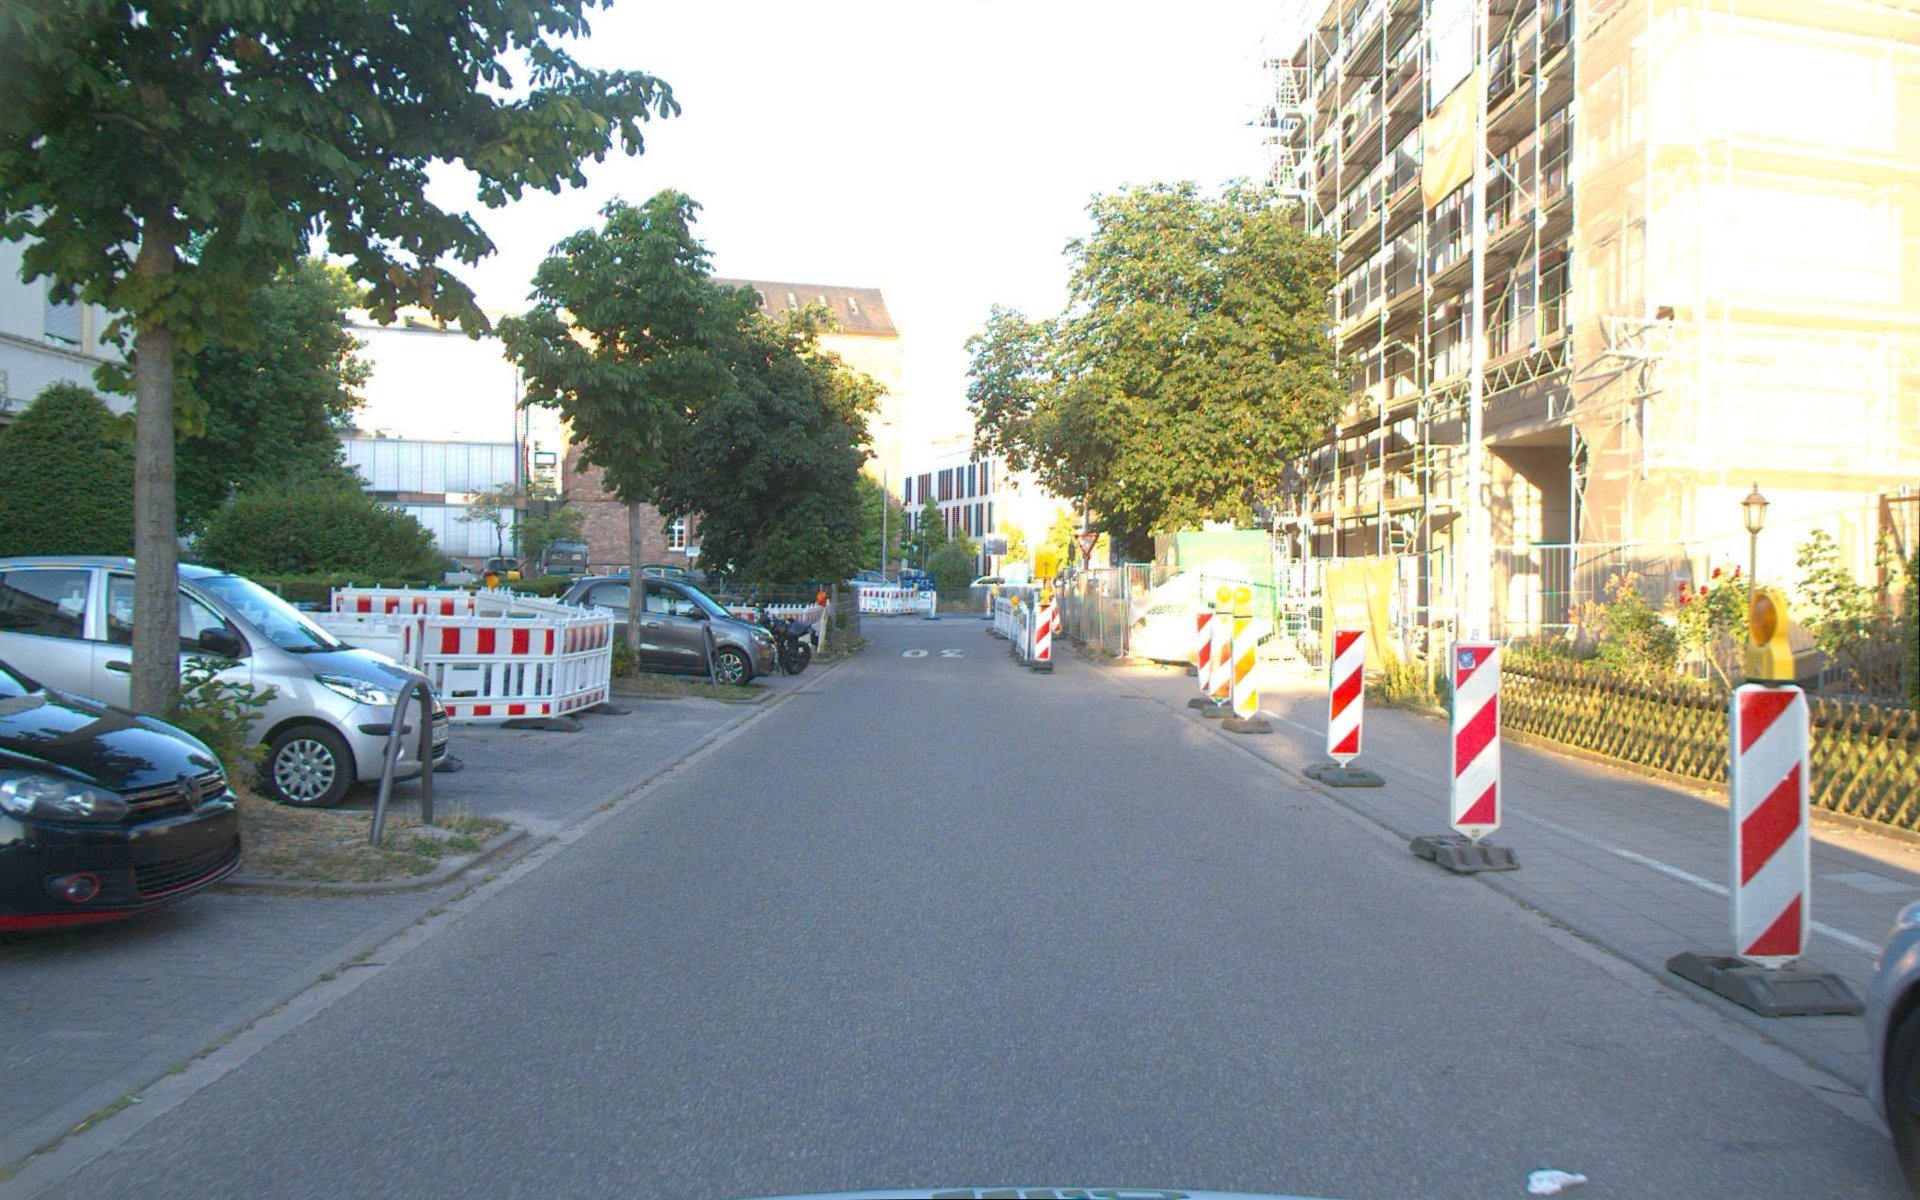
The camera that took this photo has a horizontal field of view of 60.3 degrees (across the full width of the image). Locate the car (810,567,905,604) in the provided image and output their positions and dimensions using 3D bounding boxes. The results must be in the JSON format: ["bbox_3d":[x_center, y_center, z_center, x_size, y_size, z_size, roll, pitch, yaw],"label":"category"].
[{"bbox_3d":[-4.829,-0.687,77.690,4.205,1.738,1.693,0,1,-19],"label":"car"}]

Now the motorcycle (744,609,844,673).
[{"bbox_3d":[-2.864,0.698,28.730,0.527,1.038,2.208,3,0,28],"label":"motorcycle"}]

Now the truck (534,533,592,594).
[{"bbox_3d":[-18.110,-1.644,75.330,2.297,2.662,4.950,0,1,-17],"label":"truck"}]

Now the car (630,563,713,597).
[{"bbox_3d":[-13.118,-0.906,75.228,3.573,1.530,1.630,0,1,-17],"label":"car"}]

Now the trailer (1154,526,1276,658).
[{"bbox_3d":[5.275,-0.191,34.753,1.952,2.584,4.186,0,1,1],"label":"trailer"}]

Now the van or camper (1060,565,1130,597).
[{"bbox_3d":[9.860,-1.385,120.551,4.892,2.279,1.676,0,0,-22],"label":"van or camper"}]

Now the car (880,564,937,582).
[{"bbox_3d":[-3.887,-2.011,123.965,3.926,1.336,1.868,0,2,-19],"label":"car"}]

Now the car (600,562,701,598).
[{"bbox_3d":[-14.480,-0.932,77.340,4.510,1.666,1.568,0,1,-17],"label":"car"}]

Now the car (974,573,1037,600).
[{"bbox_3d":[2.908,-0.852,105.108,3.687,1.631,1.676,0,0,-22],"label":"car"}]

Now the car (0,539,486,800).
[{"bbox_3d":[-5.207,0.445,11.341,3.405,1.593,1.727,2,-1,-3],"label":"car"}]

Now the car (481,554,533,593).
[{"bbox_3d":[-20.475,-1.192,74.631,1.964,1.722,3.977,0,1,-20],"label":"car"}]

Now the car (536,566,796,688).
[{"bbox_3d":[-4.390,0.386,25.083,3.550,1.584,1.693,3,0,-1],"label":"car"}]

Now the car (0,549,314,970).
[{"bbox_3d":[-5.014,0.538,6.913,3.895,1.515,1.728,2,-1,2],"label":"car"}]

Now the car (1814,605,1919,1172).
[{"bbox_3d":[3.304,0.754,2.631,1.739,1.421,4.107,0,1,-1],"label":"car"}]
